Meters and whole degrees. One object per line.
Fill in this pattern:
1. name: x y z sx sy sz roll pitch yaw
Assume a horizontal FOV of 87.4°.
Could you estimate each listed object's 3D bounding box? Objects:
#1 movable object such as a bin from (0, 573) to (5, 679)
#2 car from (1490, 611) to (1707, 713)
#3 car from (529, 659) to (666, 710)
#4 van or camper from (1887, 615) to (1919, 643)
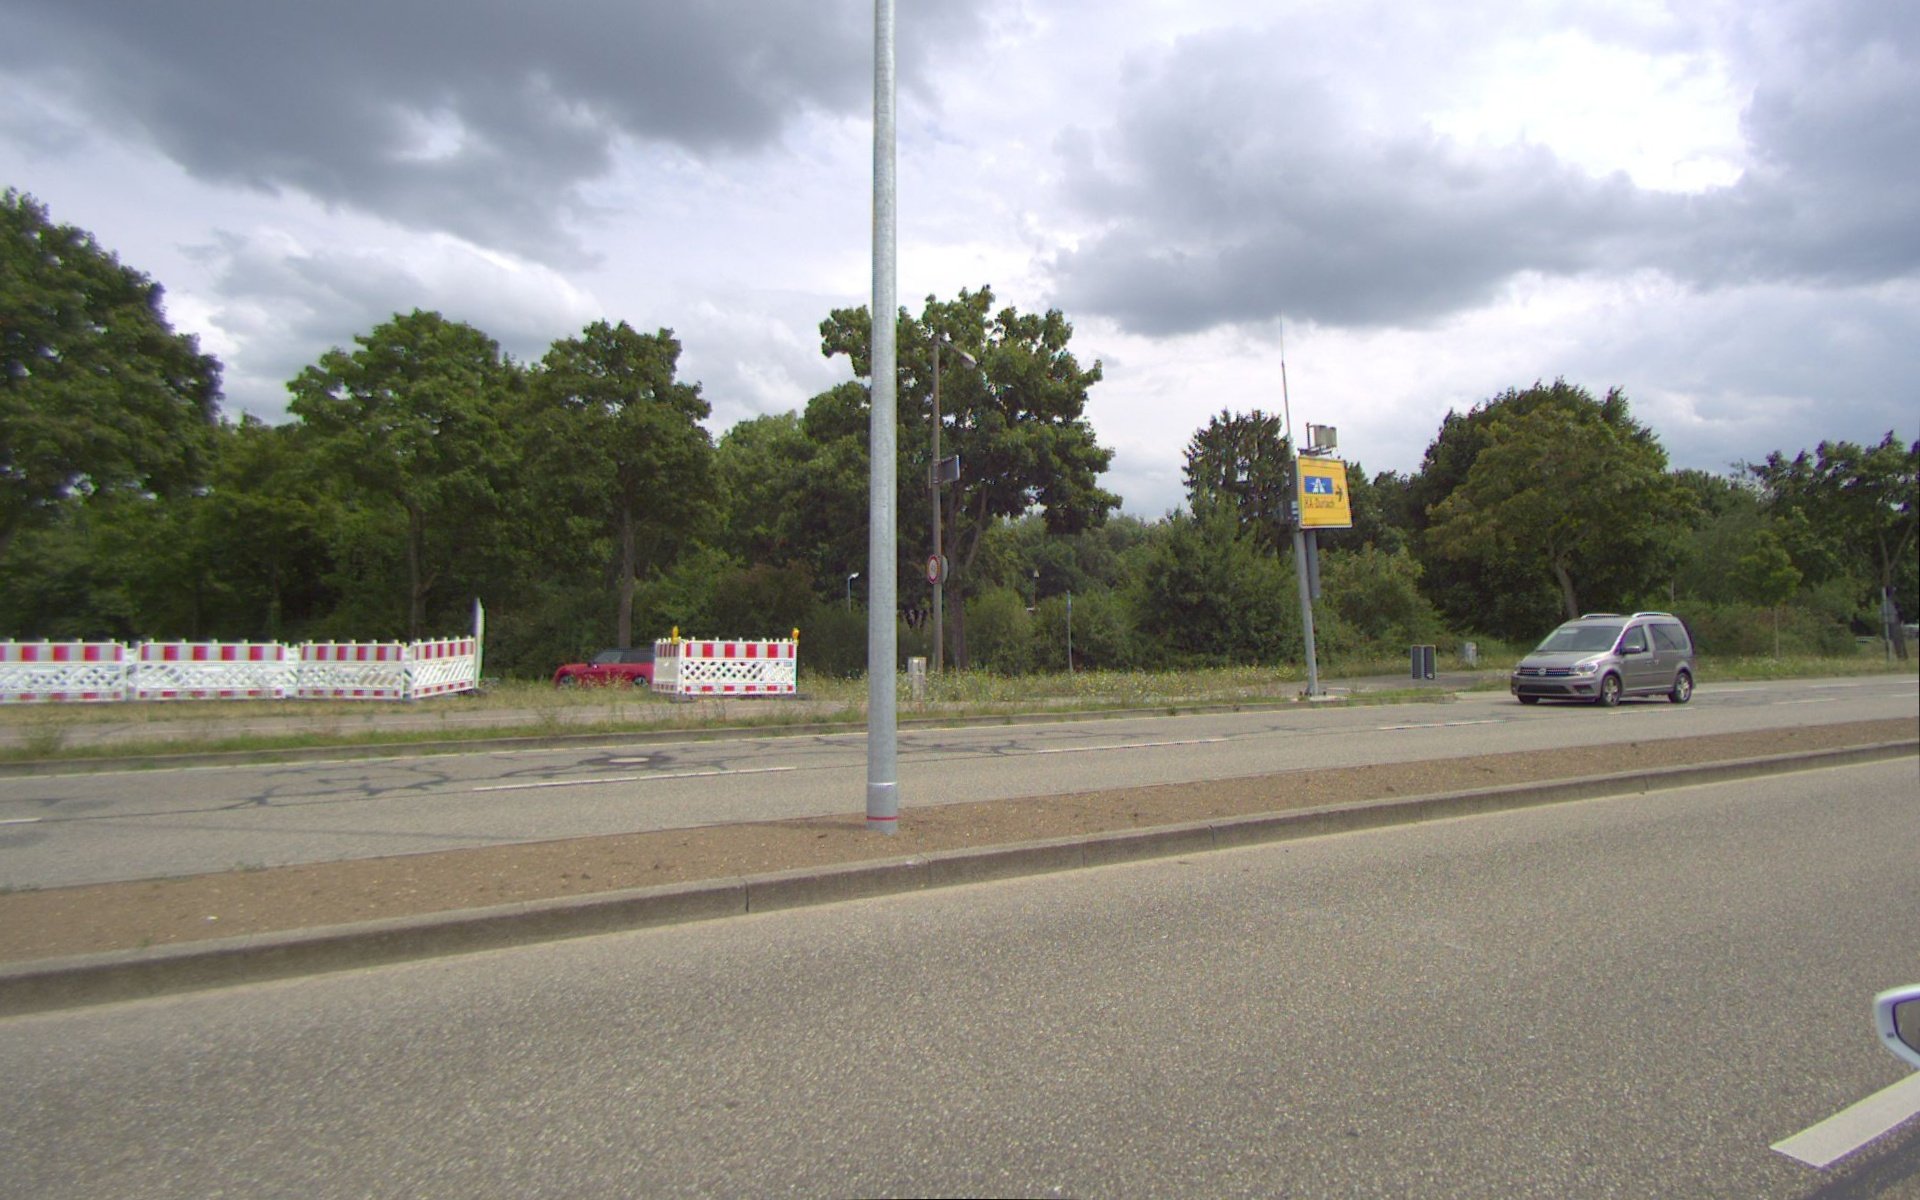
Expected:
1. movable object such as a bin: -21.979 0.580 21.396 1.983 2.429 4.542 0 -1 -39
2. car: 13.048 1.165 20.468 4.485 1.833 1.894 0 -1 -30
3. car: -10.699 2.471 29.729 3.413 1.342 1.717 -1 -1 13
4. van or camper: 93.023 2.788 97.736 6.644 2.574 2.459 0 -1 -32
